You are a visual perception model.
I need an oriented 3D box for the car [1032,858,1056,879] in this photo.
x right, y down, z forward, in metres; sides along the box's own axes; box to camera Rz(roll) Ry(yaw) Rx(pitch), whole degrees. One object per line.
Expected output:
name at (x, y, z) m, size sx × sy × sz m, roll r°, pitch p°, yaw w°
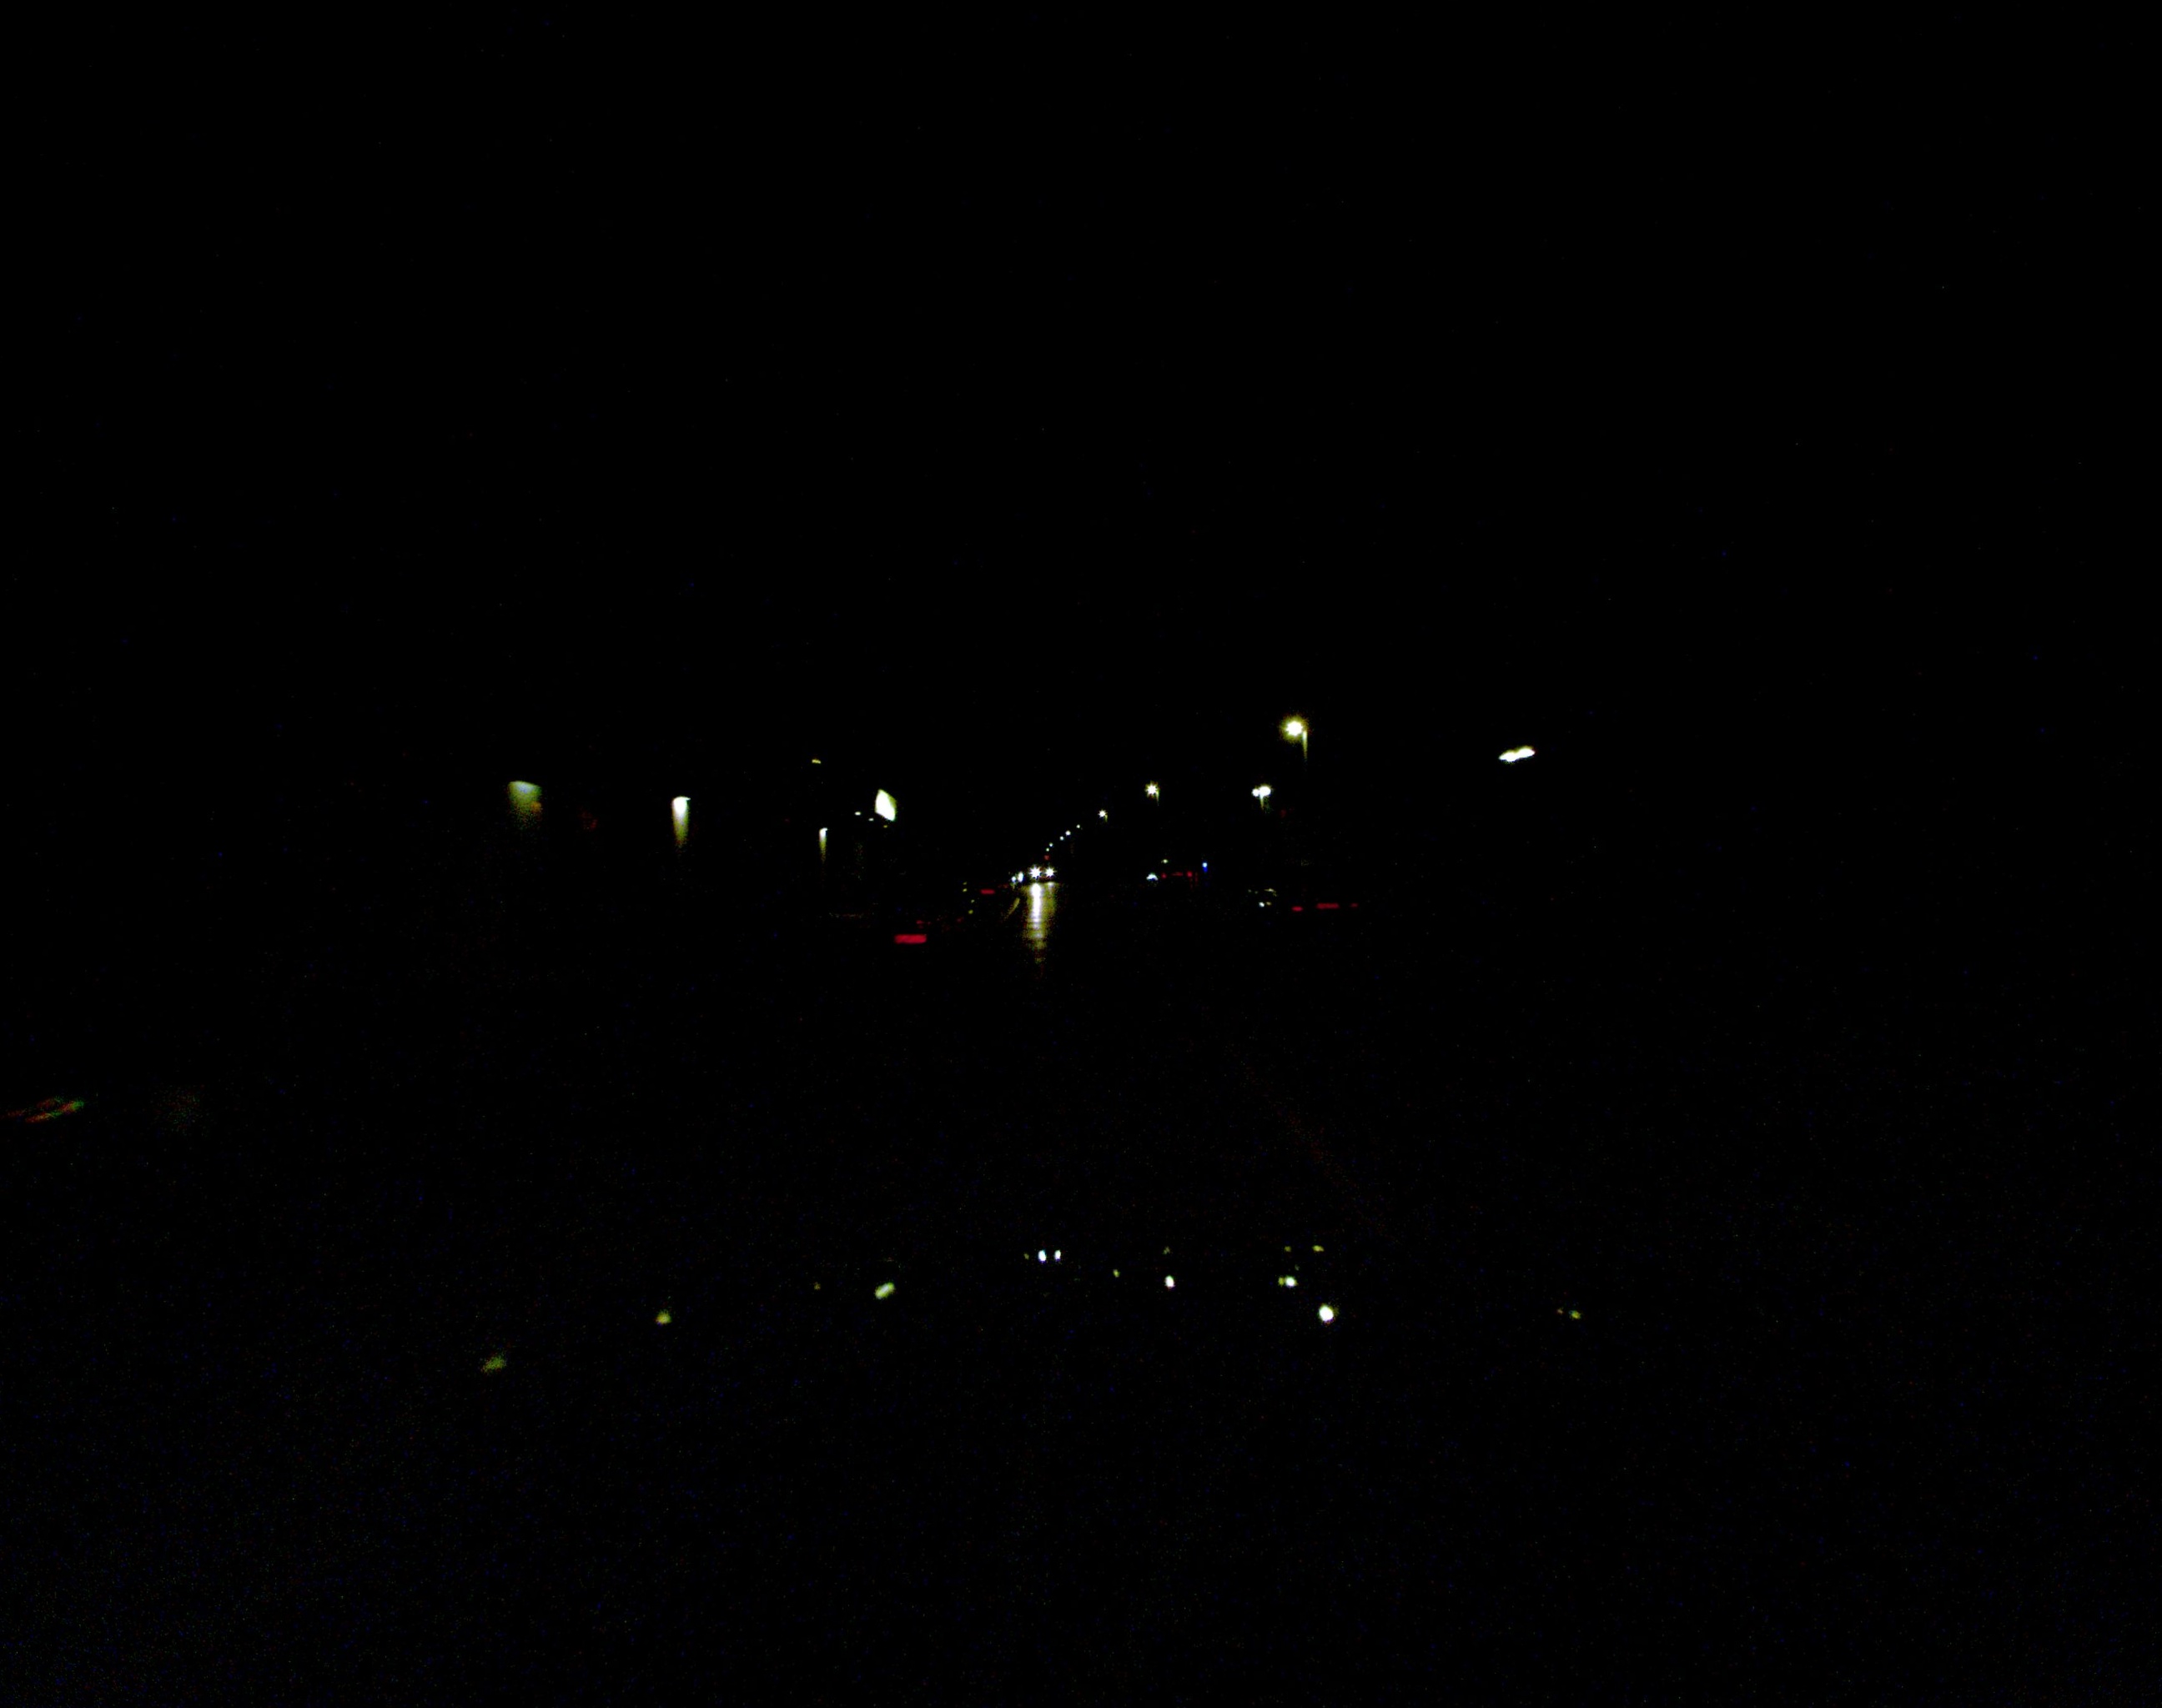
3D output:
car at (-2.858, 1.116, 58.390) m, size 1.628 × 1.496 × 3.548 m, roll -2°, pitch 0°, yaw -6°

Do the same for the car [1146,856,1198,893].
car at (4.261, 0.945, 36.217) m, size 1.697 × 1.515 × 3.689 m, roll -2°, pitch 1°, yaw -5°

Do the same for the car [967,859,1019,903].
car at (-3.466, 1.034, 30.632) m, size 1.792 × 1.632 × 4.378 m, roll 0°, pitch 0°, yaw -3°

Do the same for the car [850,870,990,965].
car at (-2.851, 1.065, 14.479) m, size 1.862 × 1.433 × 4.593 m, roll 0°, pitch 0°, yaw -2°

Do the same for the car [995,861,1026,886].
car at (-4.676, 1.251, 50.684) m, size 1.681 × 1.439 × 4.610 m, roll -3°, pitch 0°, yaw -1°

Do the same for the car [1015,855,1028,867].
car at (-7.991, 0.927, 101.581) m, size 1.657 × 1.465 × 3.516 m, roll -2°, pitch 0°, yaw -6°

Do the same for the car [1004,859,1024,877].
car at (-5.946, 1.248, 67.395) m, size 1.643 × 1.458 × 3.774 m, roll -3°, pitch 0°, yaw -4°

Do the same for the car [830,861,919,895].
car at (-10.643, 1.186, 39.280) m, size 4.076 × 1.576 × 1.703 m, roll -1°, pitch 1°, yaw -34°

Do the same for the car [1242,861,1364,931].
car at (5.313, 0.935, 18.737) m, size 1.696 × 1.428 × 4.127 m, roll -3°, pitch 0°, yaw -1°

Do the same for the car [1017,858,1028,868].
car at (-9.590, 1.459, 124.832) m, size 1.703 × 1.447 × 3.712 m, roll -2°, pitch 0°, yaw -6°

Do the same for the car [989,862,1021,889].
car at (-4.554, 1.245, 45.875) m, size 1.785 × 1.429 × 4.287 m, roll -3°, pitch 0°, yaw -5°
